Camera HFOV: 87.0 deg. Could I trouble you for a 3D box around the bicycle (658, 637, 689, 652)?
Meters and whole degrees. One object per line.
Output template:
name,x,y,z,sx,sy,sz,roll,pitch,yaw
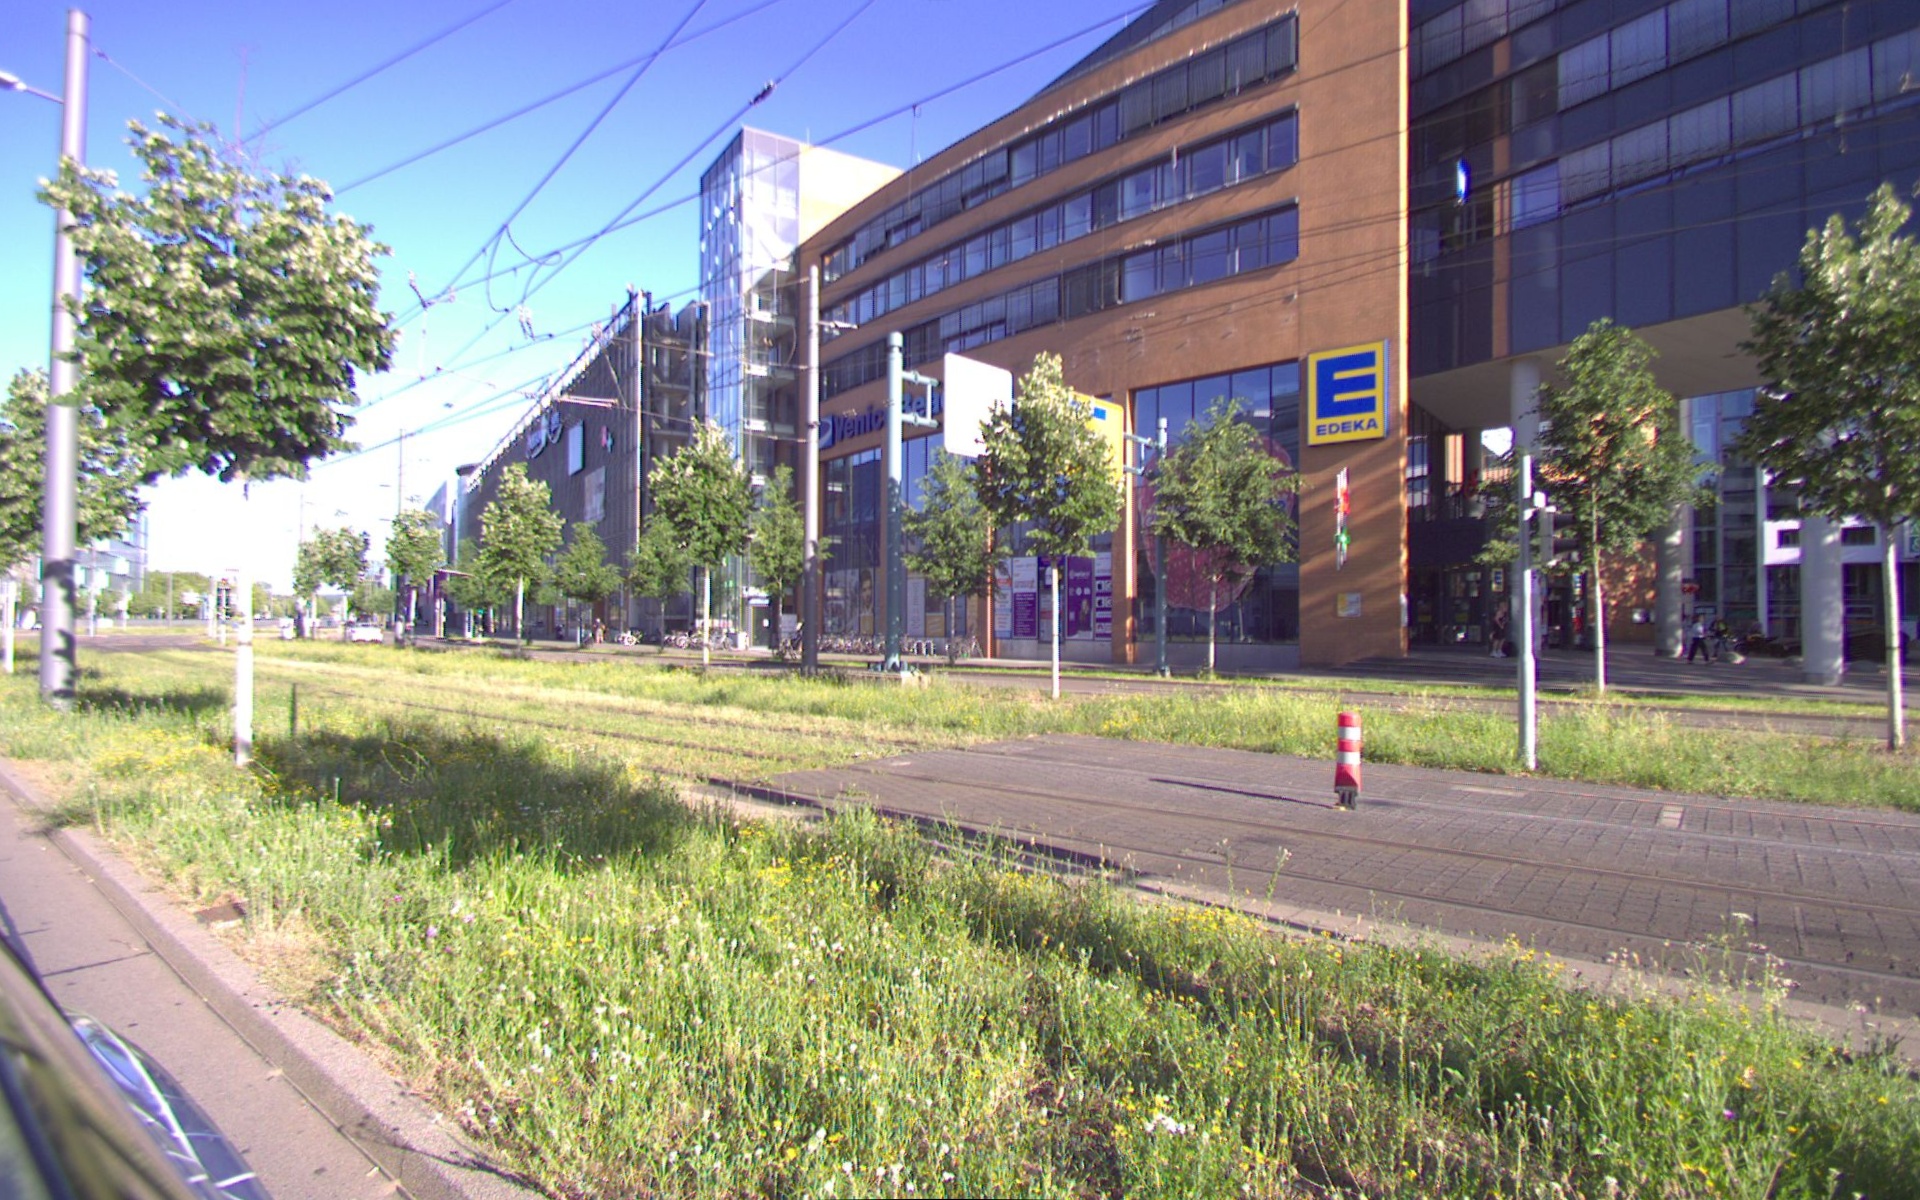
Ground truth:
bicycle,-17.576,2.714,62.036,1.741,0.933,0.492,1,-2,-33

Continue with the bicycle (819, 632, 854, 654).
bicycle,-6.140,2.148,50.429,1.744,1.057,0.491,1,-2,-42

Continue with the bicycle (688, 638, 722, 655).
bicycle,-14.510,2.656,57.607,1.741,0.933,0.566,1,-2,-33

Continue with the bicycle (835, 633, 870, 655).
bicycle,-5.242,2.132,49.376,1.744,1.057,0.491,1,-2,-42

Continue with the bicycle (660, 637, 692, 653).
bicycle,-17.247,2.708,61.442,1.741,0.933,0.566,1,-2,-33

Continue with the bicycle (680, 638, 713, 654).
bicycle,-15.296,2.671,58.781,1.741,0.933,0.566,1,-2,-33

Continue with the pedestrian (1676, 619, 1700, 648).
pedestrian,38.444,1.780,53.446,1.038,1.491,0.660,0,0,-32

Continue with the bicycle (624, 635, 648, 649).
bicycle,-21.225,2.755,66.316,1.377,0.933,0.463,1,-2,-33

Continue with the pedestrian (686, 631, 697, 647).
pedestrian,-17.927,2.600,67.598,0.619,1.063,0.450,1,-2,-36

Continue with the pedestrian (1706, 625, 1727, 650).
pedestrian,39.786,1.960,53.219,0.627,1.287,0.664,0,0,-32

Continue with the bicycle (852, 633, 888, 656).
bicycle,-4.301,2.117,48.486,1.744,1.057,0.491,1,-2,-42

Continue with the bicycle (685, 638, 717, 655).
bicycle,-14.885,2.664,58.177,1.741,0.933,0.566,1,-2,-33

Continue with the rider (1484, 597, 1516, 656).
rider,16.879,0.836,31.655,0.712,1.816,0.710,-1,-2,42

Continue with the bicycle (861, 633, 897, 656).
bicycle,-3.830,2.108,47.966,1.744,1.057,0.491,1,-2,-42

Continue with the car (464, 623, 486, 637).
car,-56.768,3.534,118.485,1.559,1.541,3.759,0,0,-37

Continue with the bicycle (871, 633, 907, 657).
bicycle,-3.306,2.099,47.437,1.744,1.057,0.491,1,-2,-42

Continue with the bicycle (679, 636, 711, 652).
bicycle,-15.566,2.562,59.415,1.741,0.933,0.492,1,-2,-33

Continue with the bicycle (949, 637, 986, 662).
bicycle,0.330,2.112,43.332,1.744,1.057,0.491,1,-2,-42

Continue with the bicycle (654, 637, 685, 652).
bicycle,-17.951,2.733,62.576,1.741,0.933,0.492,1,-2,-33

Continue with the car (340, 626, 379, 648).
car,-39.588,2.416,66.704,1.782,1.338,4.415,2,-2,-36

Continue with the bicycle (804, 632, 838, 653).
bicycle,-7.092,2.165,51.628,1.744,1.057,0.491,1,-2,-42

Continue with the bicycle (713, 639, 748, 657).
bicycle,-12.458,2.620,54.929,1.741,0.933,0.566,1,-2,-33

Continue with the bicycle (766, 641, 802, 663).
bicycle,-7.316,2.165,41.992,1.771,0.875,0.458,-1,-2,42

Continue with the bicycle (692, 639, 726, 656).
bicycle,-14.138,2.649,57.036,1.741,0.933,0.566,1,-2,-33

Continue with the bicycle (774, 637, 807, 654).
bicycle,-9.377,2.515,56.080,1.741,0.933,0.566,1,-2,-33

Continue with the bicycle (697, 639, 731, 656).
bicycle,-13.721,2.641,56.378,1.741,0.933,0.566,1,-2,-33

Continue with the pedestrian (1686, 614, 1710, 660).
pedestrian,24.023,1.196,32.958,0.572,1.491,0.447,-1,-1,41

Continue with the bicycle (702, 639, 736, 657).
bicycle,-13.244,2.632,55.682,1.741,0.933,0.566,1,-2,-33

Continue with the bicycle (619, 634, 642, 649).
bicycle,-22.026,2.771,67.561,1.377,0.933,0.463,1,-2,-33

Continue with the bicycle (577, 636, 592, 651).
bicycle,-22.726,2.647,61.202,0.380,0.875,1.775,1,-2,-36

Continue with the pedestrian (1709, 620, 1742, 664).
pedestrian,30.813,1.676,40.732,0.778,1.720,0.810,0,0,-32

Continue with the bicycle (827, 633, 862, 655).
bicycle,-5.700,2.140,49.886,1.744,1.057,0.491,1,-2,-42

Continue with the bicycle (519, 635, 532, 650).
bicycle,-27.415,2.670,63.823,0.380,0.930,1.775,1,-2,-36

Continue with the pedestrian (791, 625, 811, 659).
pedestrian,-7.853,2.052,49.915,0.736,1.681,0.676,1,-2,-43

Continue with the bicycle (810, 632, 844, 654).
bicycle,-6.711,2.159,51.204,1.744,1.057,0.491,1,-2,-42

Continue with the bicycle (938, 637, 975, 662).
bicycle,-0.136,2.120,43.793,1.744,1.057,0.491,1,-2,-42

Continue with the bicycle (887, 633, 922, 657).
bicycle,-2.583,2.089,47.266,1.744,1.057,0.491,1,-2,-42
